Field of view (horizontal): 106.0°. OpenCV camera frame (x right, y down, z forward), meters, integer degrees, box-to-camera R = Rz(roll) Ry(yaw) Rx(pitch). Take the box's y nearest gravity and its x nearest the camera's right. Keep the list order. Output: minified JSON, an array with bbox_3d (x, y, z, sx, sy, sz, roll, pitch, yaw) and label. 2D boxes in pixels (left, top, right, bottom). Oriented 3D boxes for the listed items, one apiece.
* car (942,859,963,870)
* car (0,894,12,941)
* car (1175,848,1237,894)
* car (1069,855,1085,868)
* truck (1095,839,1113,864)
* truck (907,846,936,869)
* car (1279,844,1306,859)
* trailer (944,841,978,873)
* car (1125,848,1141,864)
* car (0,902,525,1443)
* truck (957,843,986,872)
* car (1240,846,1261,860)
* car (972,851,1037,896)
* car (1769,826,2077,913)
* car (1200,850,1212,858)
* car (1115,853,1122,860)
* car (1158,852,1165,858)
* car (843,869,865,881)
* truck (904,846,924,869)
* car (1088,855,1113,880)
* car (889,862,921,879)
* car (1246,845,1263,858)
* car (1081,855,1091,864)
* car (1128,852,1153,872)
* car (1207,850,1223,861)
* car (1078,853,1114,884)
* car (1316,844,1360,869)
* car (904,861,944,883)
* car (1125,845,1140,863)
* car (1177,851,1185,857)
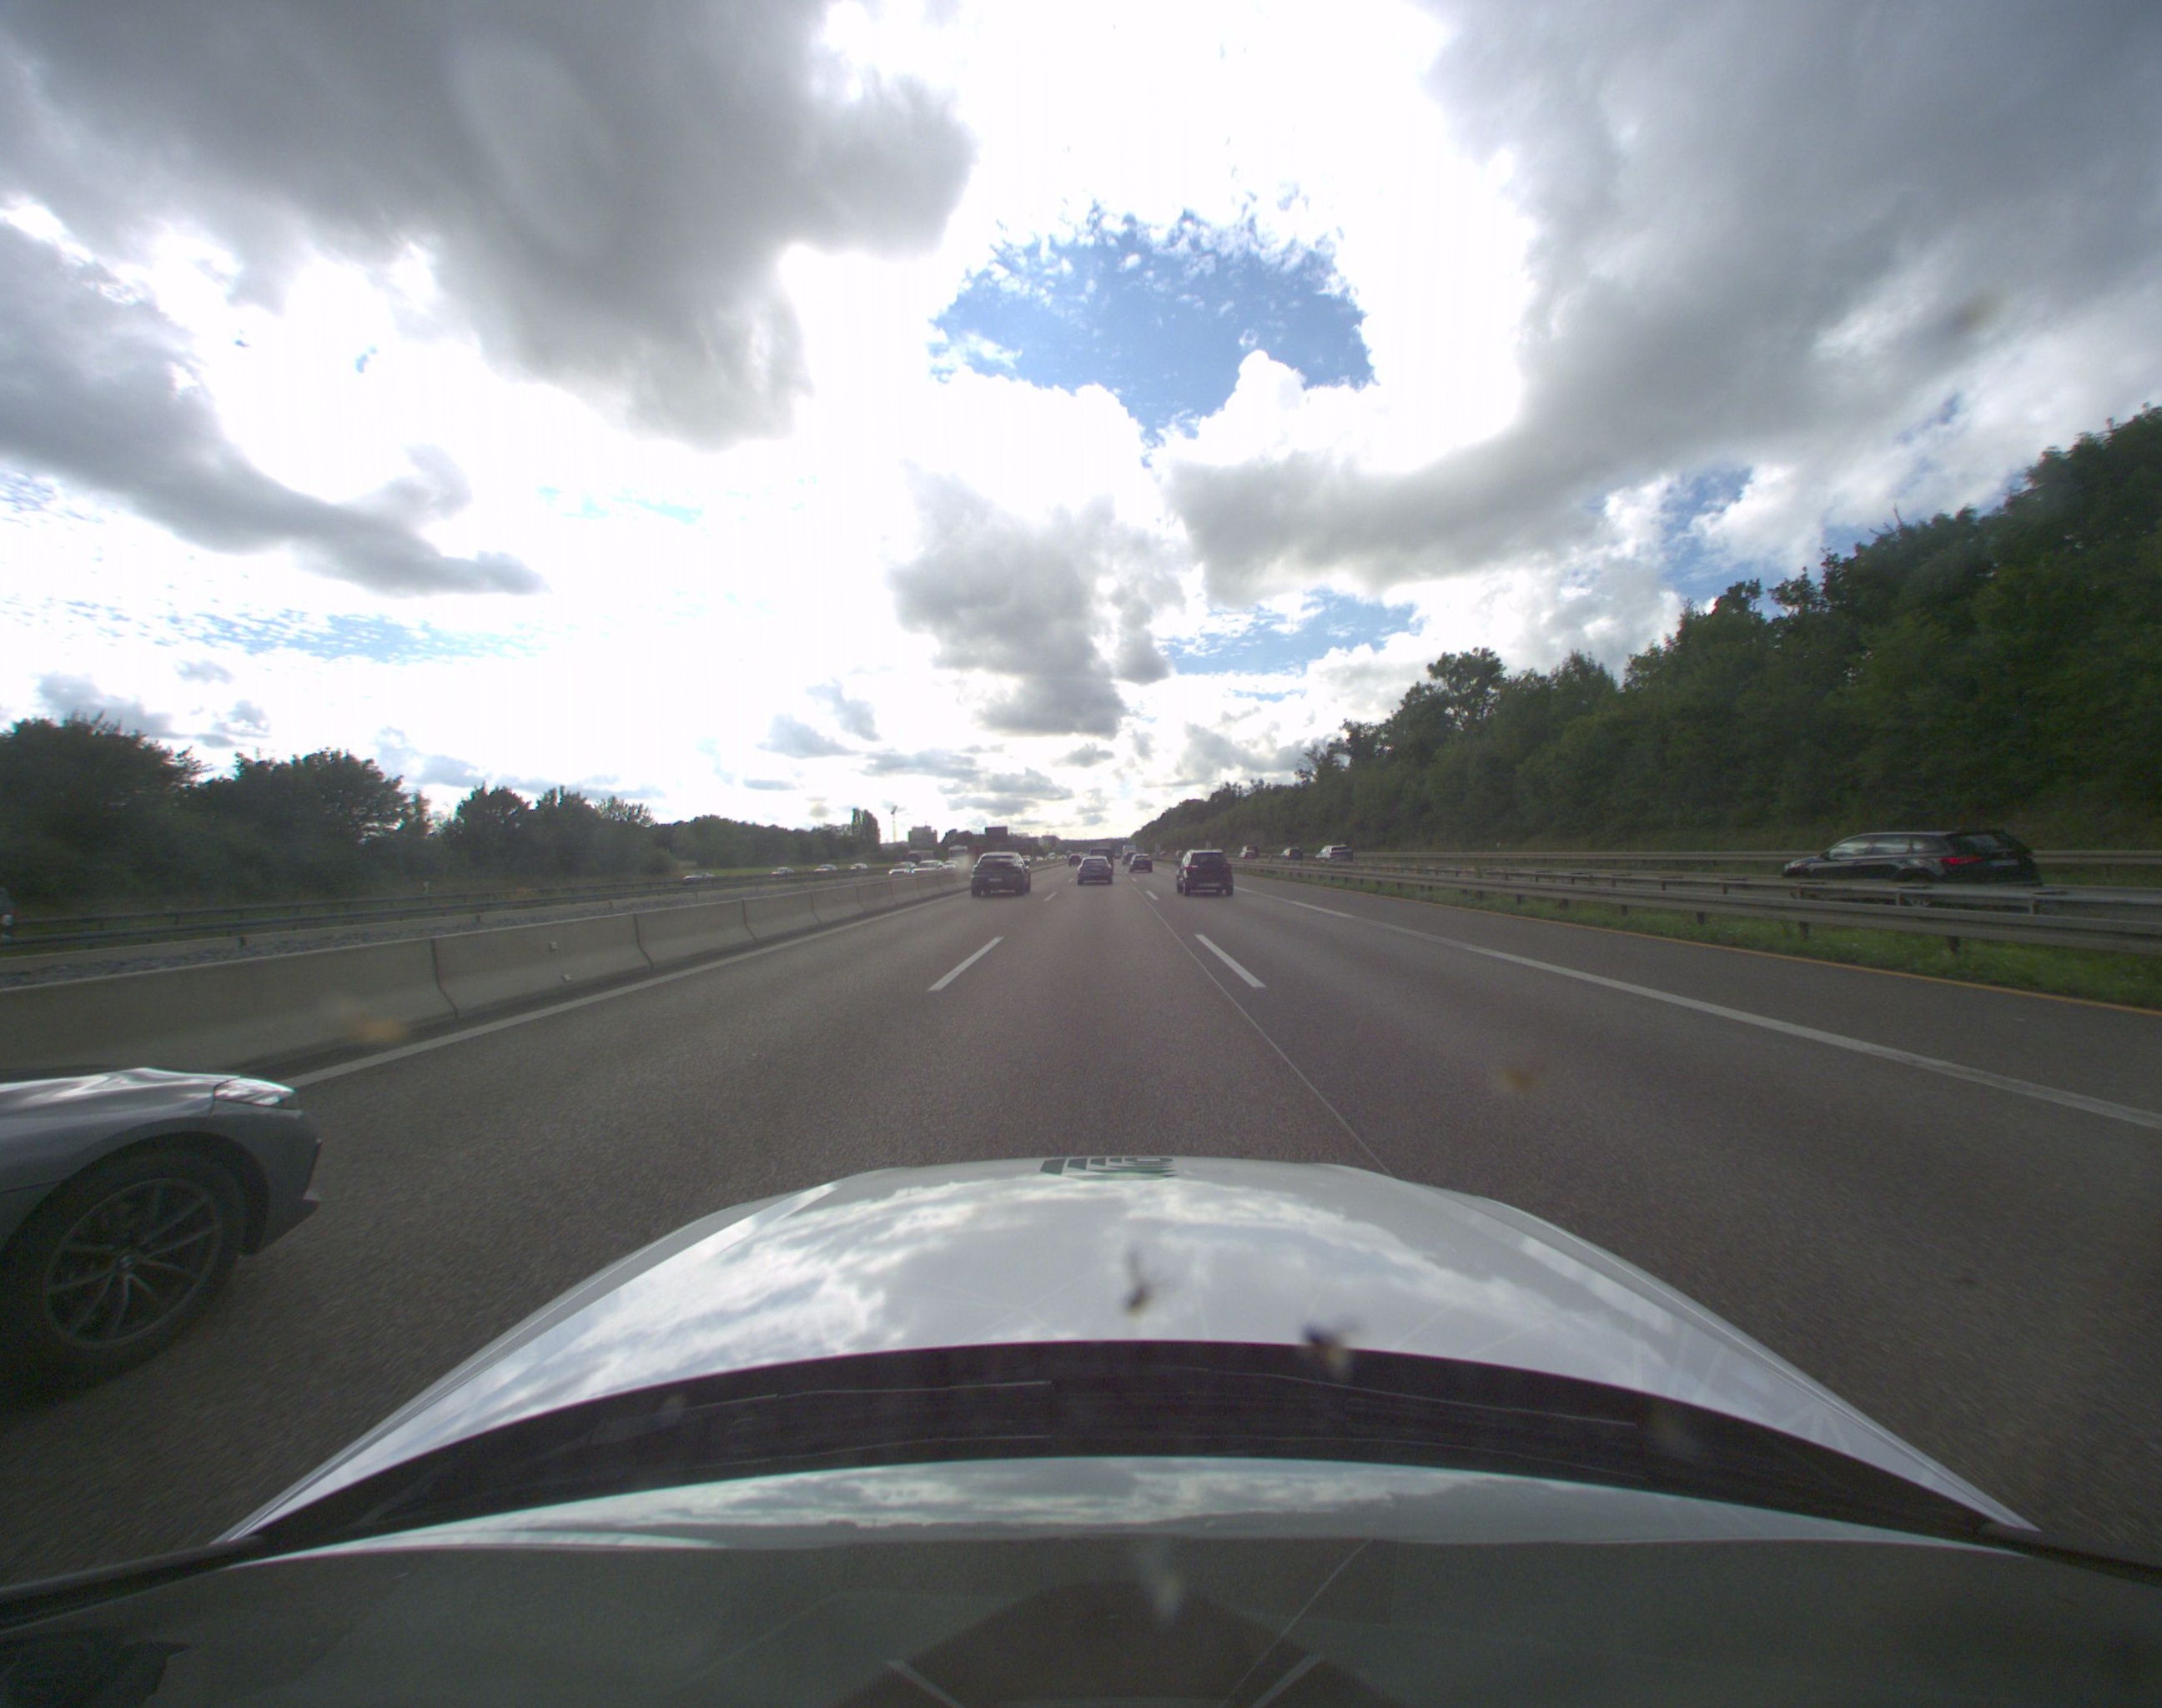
[{"bbox_3d":[-15.208,1.229,96.522,1.649,1.192,4.131,-2,0,1],"label":"car"},{"bbox_3d":[-39.841,2.332,27.365,1.875,1.662,4.421,-2,0,2],"label":"car"},{"bbox_3d":[4.557,0.581,30.243,1.691,1.564,4.114,-1,0,1],"label":"car"},{"bbox_3d":[-0.504,1.005,109.016,1.866,1.698,4.073,-1,0,1],"label":"car"},{"bbox_3d":[4.215,-0.521,148.571,3.251,4.375,11.030,-1,0,2],"label":"truck"},{"bbox_3d":[-35.438,0.835,181.259,3.062,4.802,14.132,-1,0,2],"label":"truck"},{"bbox_3d":[23.080,-0.303,89.061,1.723,1.546,4.305,-4,0,0],"label":"car"},{"bbox_3d":[-17.101,0.441,117.153,3.036,4.288,10.657,-2,0,1],"label":"trailer"},{"bbox_3d":[6.704,0.238,106.052,1.906,1.919,4.031,-1,0,1],"label":"car"},{"bbox_3d":[-3.802,0.918,1.628,1.866,1.302,4.944,-1,0,1],"label":"car"},{"bbox_3d":[-16.919,0.523,126.787,3.036,4.288,8.590,-2,0,1],"label":"truck"},{"bbox_3d":[19.608,-0.058,94.245,1.590,1.546,4.189,-1,0,0],"label":"car"},{"bbox_3d":[-2.979,0.722,32.867,1.905,1.636,5.502,-1,0,1],"label":"car"},{"bbox_3d":[17.313,0.266,17.161,1.836,1.484,4.527,-4,0,2],"label":"car"},{"bbox_3d":[24.818,0.008,161.782,1.746,1.695,4.191,-1,0,1],"label":"car"},{"bbox_3d":[9.762,0.723,213.291,1.746,1.695,4.191,-1,0,1],"label":"car"},{"bbox_3d":[22.797,0.269,231.428,1.722,1.533,4.454,-2,0,1],"label":"car"},{"bbox_3d":[-33.082,3.044,118.806,1.722,1.533,4.454,-1,0,2],"label":"car"},{"bbox_3d":[-35.689,0.715,174.442,3.034,4.659,5.075,-1,0,2],"label":"truck"},{"bbox_3d":[1.445,0.978,60.375,1.714,1.724,4.392,-1,0,1],"label":"car"},{"bbox_3d":[-14.588,1.325,67.758,1.574,1.284,4.243,-2,0,2],"label":"car"},{"bbox_3d":[24.197,-0.302,113.506,1.590,1.804,3.824,-1,0,0],"label":"car"},{"bbox_3d":[0.931,1.096,153.886,1.691,1.611,4.114,-1,0,1],"label":"car"},{"bbox_3d":[4.855,0.612,66.758,1.825,1.521,4.226,-1,0,1],"label":"car"},{"bbox_3d":[20.735,0.257,126.055,1.746,1.695,4.191,-1,0,1],"label":"car"},{"bbox_3d":[0.802,0.721,42.337,1.714,1.479,4.392,-1,0,1],"label":"car"},{"bbox_3d":[18.696,0.155,59.394,1.840,1.650,4.307,-4,0,2],"label":"car"},{"bbox_3d":[-10.873,1.203,56.637,1.750,1.402,4.076,-2,0,2],"label":"car"},{"bbox_3d":[7.164,0.006,112.636,1.866,2.357,4.283,-1,0,1],"label":"car"},{"bbox_3d":[27.165,-0.061,220.626,1.746,1.517,4.190,-1,0,1],"label":"car"}]
